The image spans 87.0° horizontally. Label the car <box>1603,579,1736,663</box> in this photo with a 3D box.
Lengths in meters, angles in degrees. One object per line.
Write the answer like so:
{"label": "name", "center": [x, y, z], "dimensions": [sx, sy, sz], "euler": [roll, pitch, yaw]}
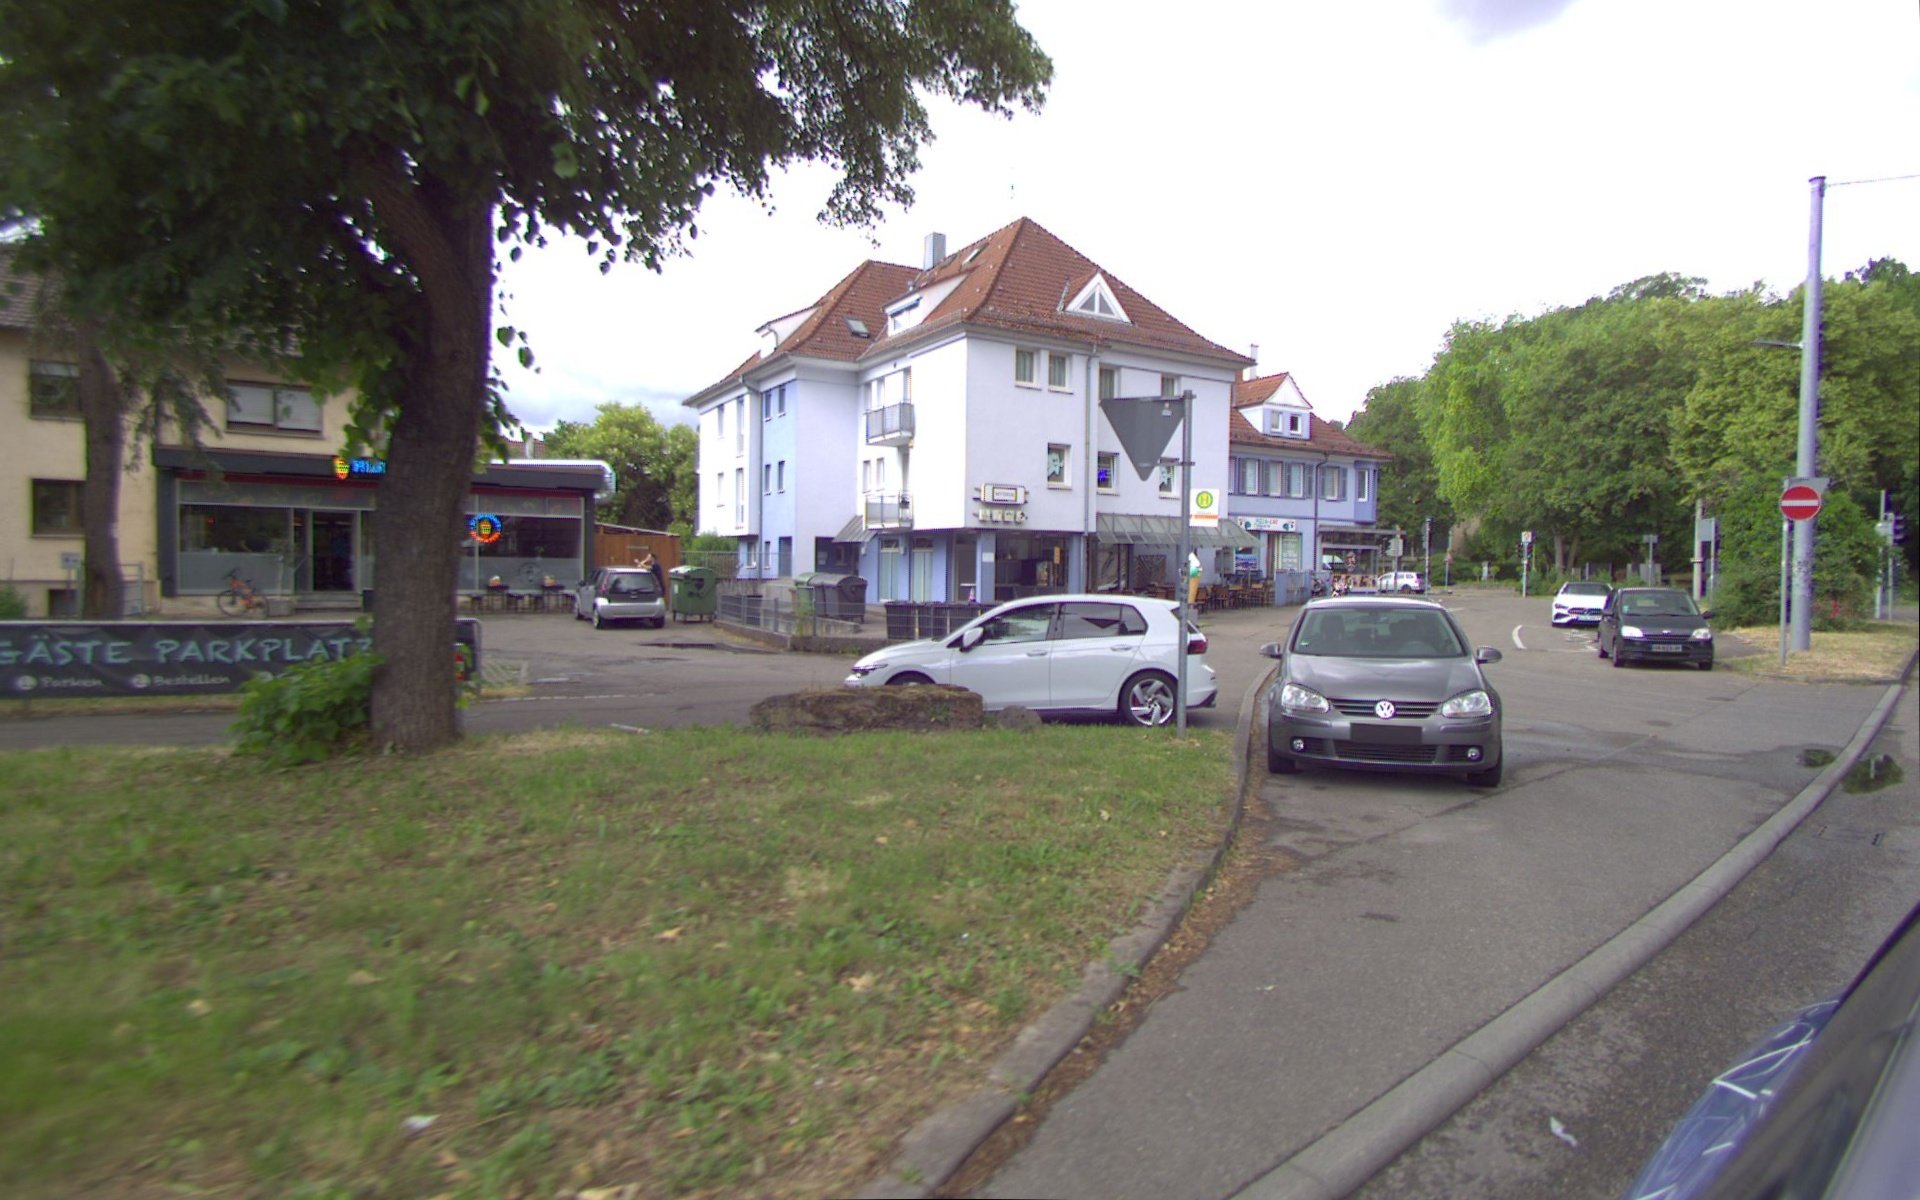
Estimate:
{"label": "car", "center": [13.393, 0.317, 19.278], "dimensions": [1.558, 1.421, 3.462], "euler": [1, 2, 27]}

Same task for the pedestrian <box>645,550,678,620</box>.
{"label": "pedestrian", "center": [-7.643, -0.401, 25.911], "dimensions": [0.600, 1.750, 0.689], "euler": [-1, 3, -35]}

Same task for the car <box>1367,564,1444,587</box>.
{"label": "car", "center": [29.994, -1.681, 68.330], "dimensions": [1.862, 1.473, 4.553], "euler": [-1, 3, -29]}

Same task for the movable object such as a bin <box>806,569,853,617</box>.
{"label": "movable object such as a bin", "center": [-4.084, -0.230, 31.557], "dimensions": [1.137, 1.412, 1.220], "euler": [-1, 3, -26]}

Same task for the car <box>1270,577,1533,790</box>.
{"label": "car", "center": [3.760, 0.552, 9.182], "dimensions": [1.711, 1.447, 4.088], "euler": [1, 1, 18]}

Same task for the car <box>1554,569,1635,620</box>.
{"label": "car", "center": [20.176, -0.242, 32.337], "dimensions": [1.983, 1.403, 4.739], "euler": [2, 3, 30]}

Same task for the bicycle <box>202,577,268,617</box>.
{"label": "bicycle", "center": [-17.328, -0.089, 24.191], "dimensions": [1.946, 0.886, 0.409], "euler": [2, 2, 26]}

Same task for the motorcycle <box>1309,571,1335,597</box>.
{"label": "motorcycle", "center": [15.156, -0.690, 42.339], "dimensions": [0.487, 1.044, 1.702], "euler": [2, 3, 38]}

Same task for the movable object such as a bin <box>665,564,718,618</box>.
{"label": "movable object such as a bin", "center": [-7.054, -0.262, 26.567], "dimensions": [0.976, 1.361, 1.220], "euler": [-2, 3, -35]}

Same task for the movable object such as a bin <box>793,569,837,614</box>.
{"label": "movable object such as a bin", "center": [-4.693, -0.291, 32.722], "dimensions": [1.072, 1.412, 1.220], "euler": [-1, 3, -26]}

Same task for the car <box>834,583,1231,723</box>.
{"label": "car", "center": [0.807, 0.533, 11.586], "dimensions": [4.188, 1.398, 1.762], "euler": [0, 1, 7]}

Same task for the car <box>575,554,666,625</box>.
{"label": "car", "center": [-8.624, -0.334, 25.588], "dimensions": [1.592, 1.650, 3.430], "euler": [-1, 3, -29]}

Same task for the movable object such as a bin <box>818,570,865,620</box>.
{"label": "movable object such as a bin", "center": [-3.549, -0.165, 30.300], "dimensions": [1.072, 1.433, 1.220], "euler": [-1, 3, -26]}

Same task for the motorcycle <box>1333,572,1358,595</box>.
{"label": "motorcycle", "center": [16.877, -0.733, 44.292], "dimensions": [0.519, 0.997, 1.798], "euler": [2, 3, 38]}
